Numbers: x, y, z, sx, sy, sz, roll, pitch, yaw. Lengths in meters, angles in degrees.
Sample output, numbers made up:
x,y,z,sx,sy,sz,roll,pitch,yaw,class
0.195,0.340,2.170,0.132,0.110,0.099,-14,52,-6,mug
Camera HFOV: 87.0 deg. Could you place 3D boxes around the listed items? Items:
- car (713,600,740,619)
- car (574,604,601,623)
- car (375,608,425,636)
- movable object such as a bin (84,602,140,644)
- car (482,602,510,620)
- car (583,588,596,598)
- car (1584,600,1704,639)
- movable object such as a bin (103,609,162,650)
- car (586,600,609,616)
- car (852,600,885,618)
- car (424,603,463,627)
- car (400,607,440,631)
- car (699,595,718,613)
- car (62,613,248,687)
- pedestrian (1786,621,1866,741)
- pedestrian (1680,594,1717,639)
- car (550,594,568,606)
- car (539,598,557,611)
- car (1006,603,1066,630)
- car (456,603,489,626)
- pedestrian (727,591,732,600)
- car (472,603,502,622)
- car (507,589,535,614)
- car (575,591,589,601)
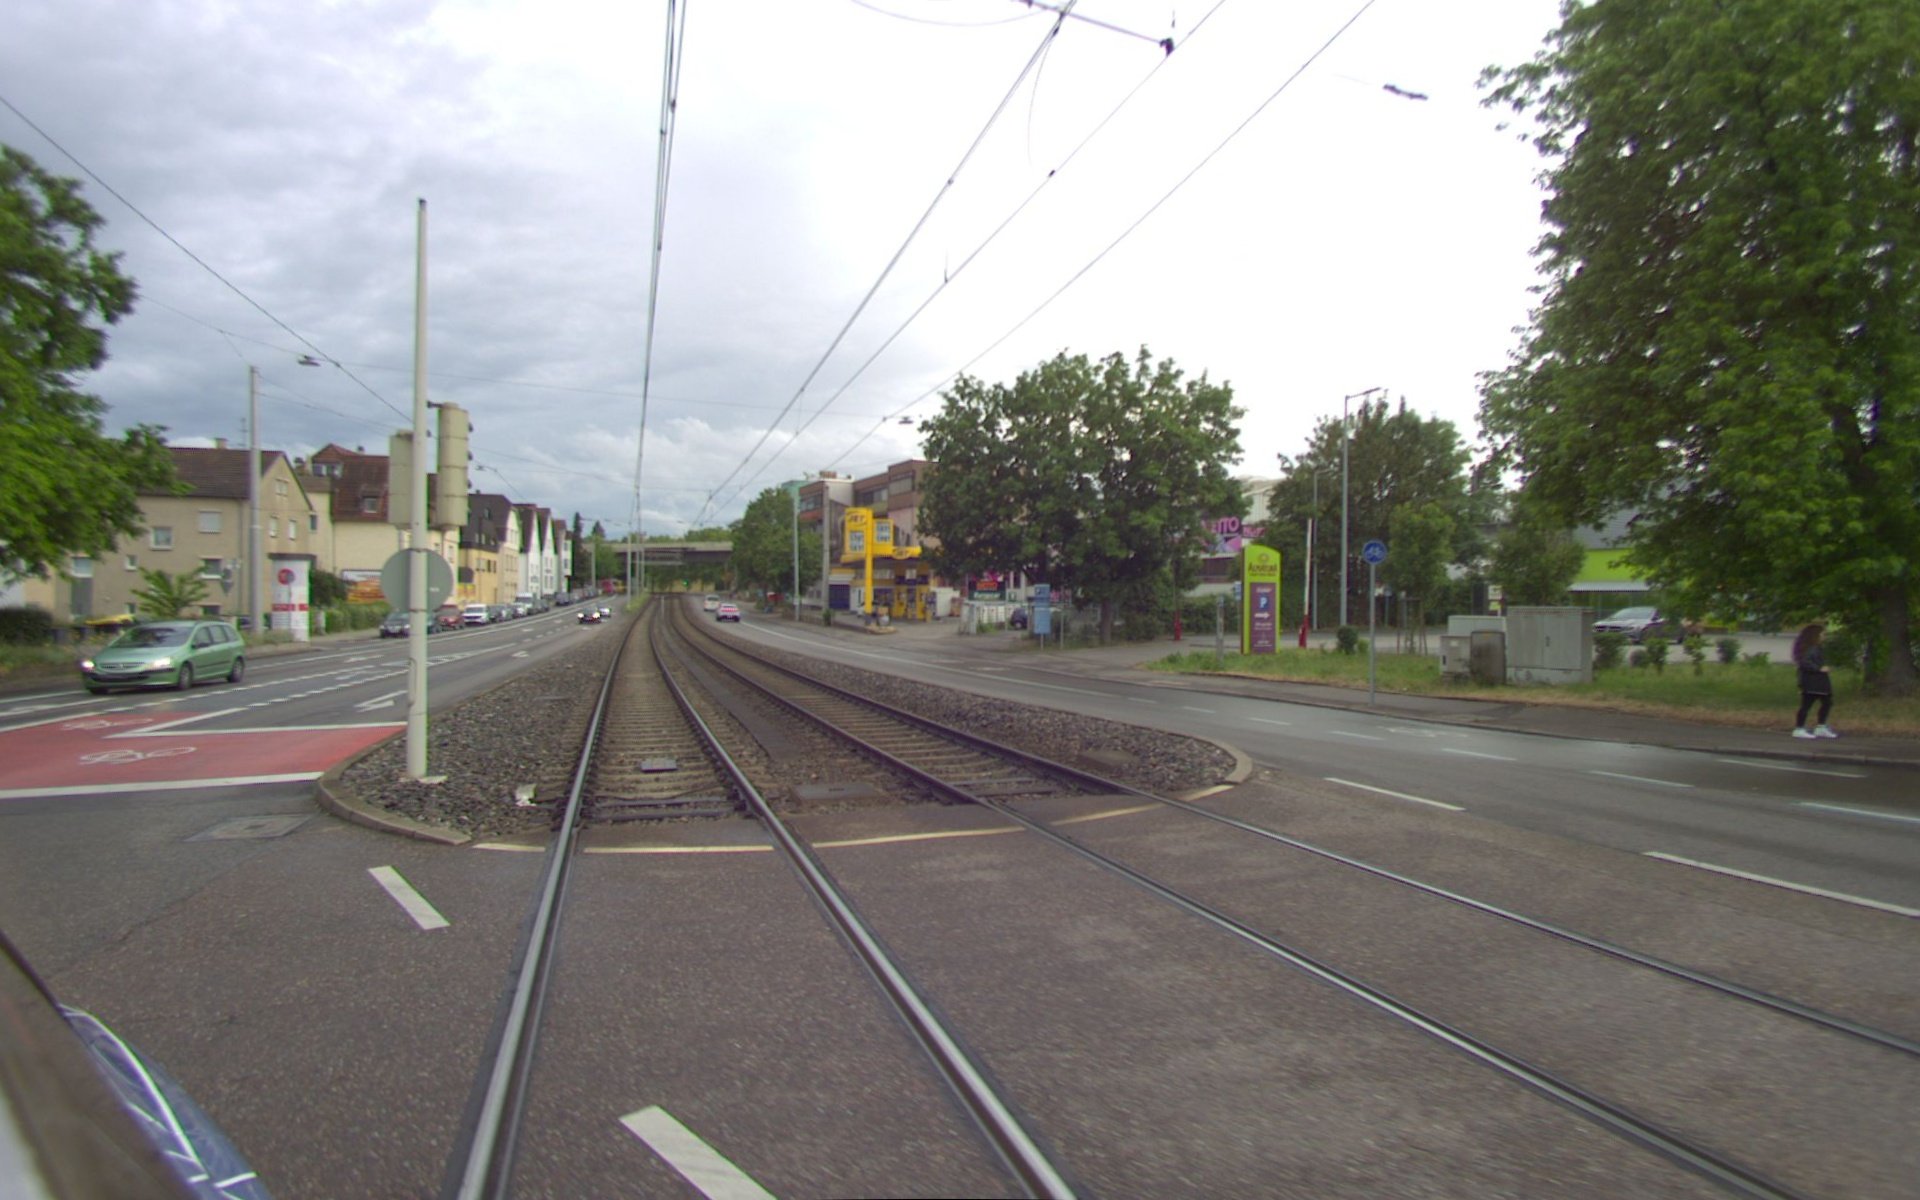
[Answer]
x,y,z,sx,sy,sz,roll,pitch,yaw,class
-21.491,0.907,93.174,1.966,1.662,4.774,2,-1,-18,car
-31.055,1.107,84.350,1.857,1.435,4.214,-2,2,-17,car
-33.963,1.293,61.482,1.811,1.545,4.452,-2,1,-17,car
-30.732,0.829,36.698,1.167,1.428,1.138,-2,2,-19,movable object such as a bin
-43.679,1.013,95.351,1.678,1.578,4.295,-1,2,-15,car
-65.285,-1.210,178.383,1.699,1.559,4.213,-1,2,-14,car
25.954,0.710,38.389,4.303,1.355,1.781,-1,0,-25,car
-31.239,1.089,38.231,1.293,1.428,1.304,-2,2,-19,movable object such as a bin
-35.587,0.790,99.439,1.857,1.435,4.214,-2,2,-17,car
-7.817,0.736,86.320,1.745,1.426,4.089,-2,1,-20,car
-38.060,1.073,74.665,1.811,1.640,4.112,-2,1,-17,car
-36.027,1.268,67.622,1.644,1.454,3.941,-2,1,-18,car
-31.333,0.501,126.032,1.966,2.029,5.075,3,-1,-17,car
-17.753,1.029,22.582,1.857,1.460,4.213,-1,0,-17,car
11.745,1.075,13.736,0.583,1.543,0.670,-2,2,-31,pedestrian
27.042,0.583,37.065,0.790,1.609,0.761,-1,2,-17,pedestrian
-55.900,0.010,141.062,1.699,1.559,4.213,-1,2,-14,car
-50.350,0.530,123.720,1.698,1.355,4.214,-2,2,-17,car
4.955,1.058,65.710,3.574,1.600,1.692,0,2,20,car
-40.552,1.186,84.292,1.821,1.770,4.536,-2,1,-18,car
-39.551,-0.761,173.471,0.735,1.657,1.024,0,1,-16,pedestrian
-41.777,1.125,89.403,1.663,1.523,4.149,-1,1,-15,car
-47.884,0.113,110.481,2.012,2.517,5.939,-1,2,-16,car
-62.820,-0.726,168.401,1.699,1.559,4.213,-1,2,-14,car
